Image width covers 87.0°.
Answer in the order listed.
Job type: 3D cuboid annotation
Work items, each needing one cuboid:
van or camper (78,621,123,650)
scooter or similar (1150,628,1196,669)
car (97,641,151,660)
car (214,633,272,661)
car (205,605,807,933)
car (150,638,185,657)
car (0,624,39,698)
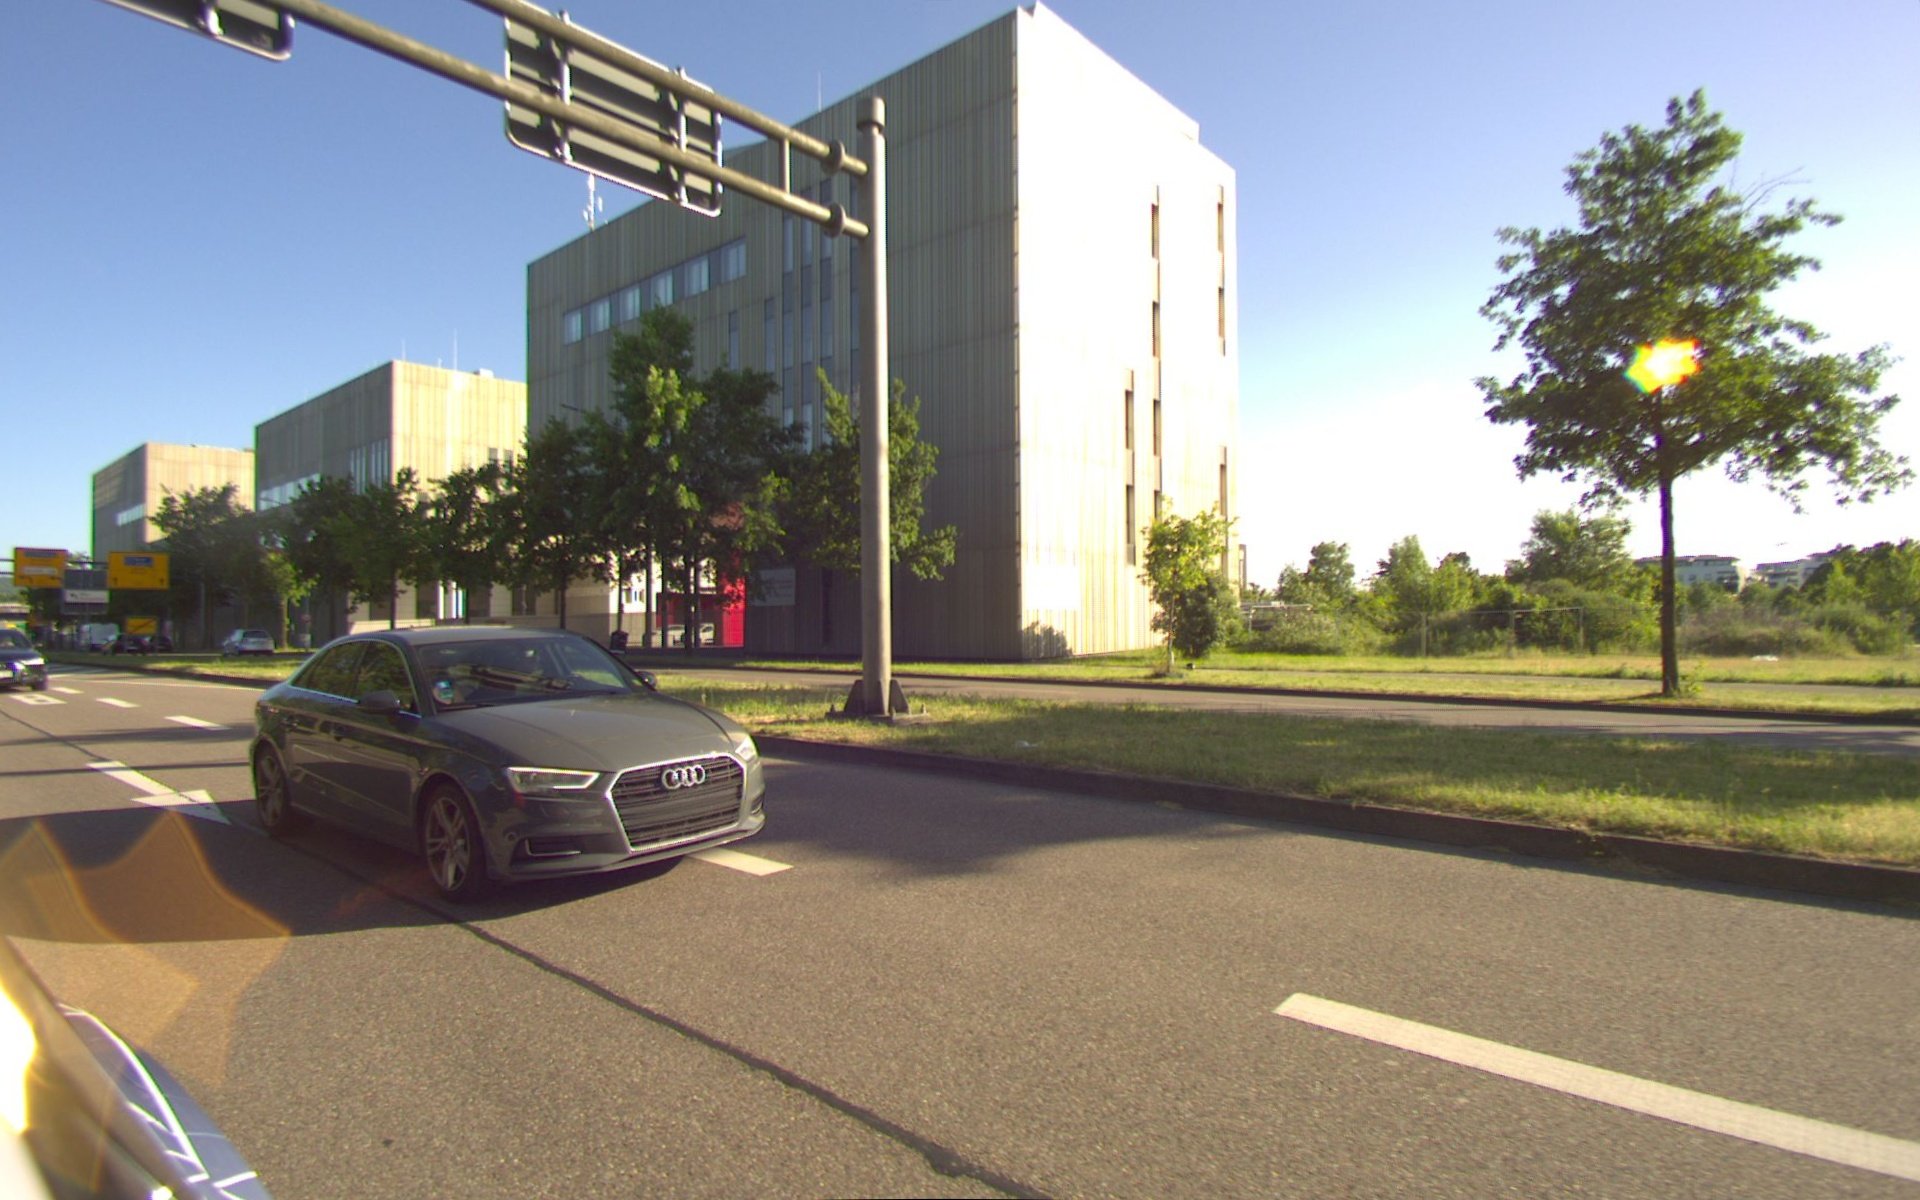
[{"bbox_3d":[-72.290,3.037,85.101,5.989,2.387,1.973,-3,-4,41],"label":"van or camper"},{"bbox_3d":[6.088,1.373,28.939,1.327,1.158,0.229,-2,-2,42],"label":"scooter or similar"},{"bbox_3d":[-51.294,3.092,62.068,4.170,1.120,1.809,-2,-2,39],"label":"car"},{"bbox_3d":[-40.524,2.636,57.138,4.045,1.488,1.671,-2,-2,40],"label":"car"},{"bbox_3d":[-3.116,0.816,6.493,4.359,1.414,1.681,-2,0,38],"label":"car"},{"bbox_3d":[-67.135,4.040,85.693,4.023,1.519,1.535,-3,-2,40],"label":"car"},{"bbox_3d":[-21.953,1.357,22.533,3.944,1.549,1.680,-2,-1,41],"label":"car"}]
